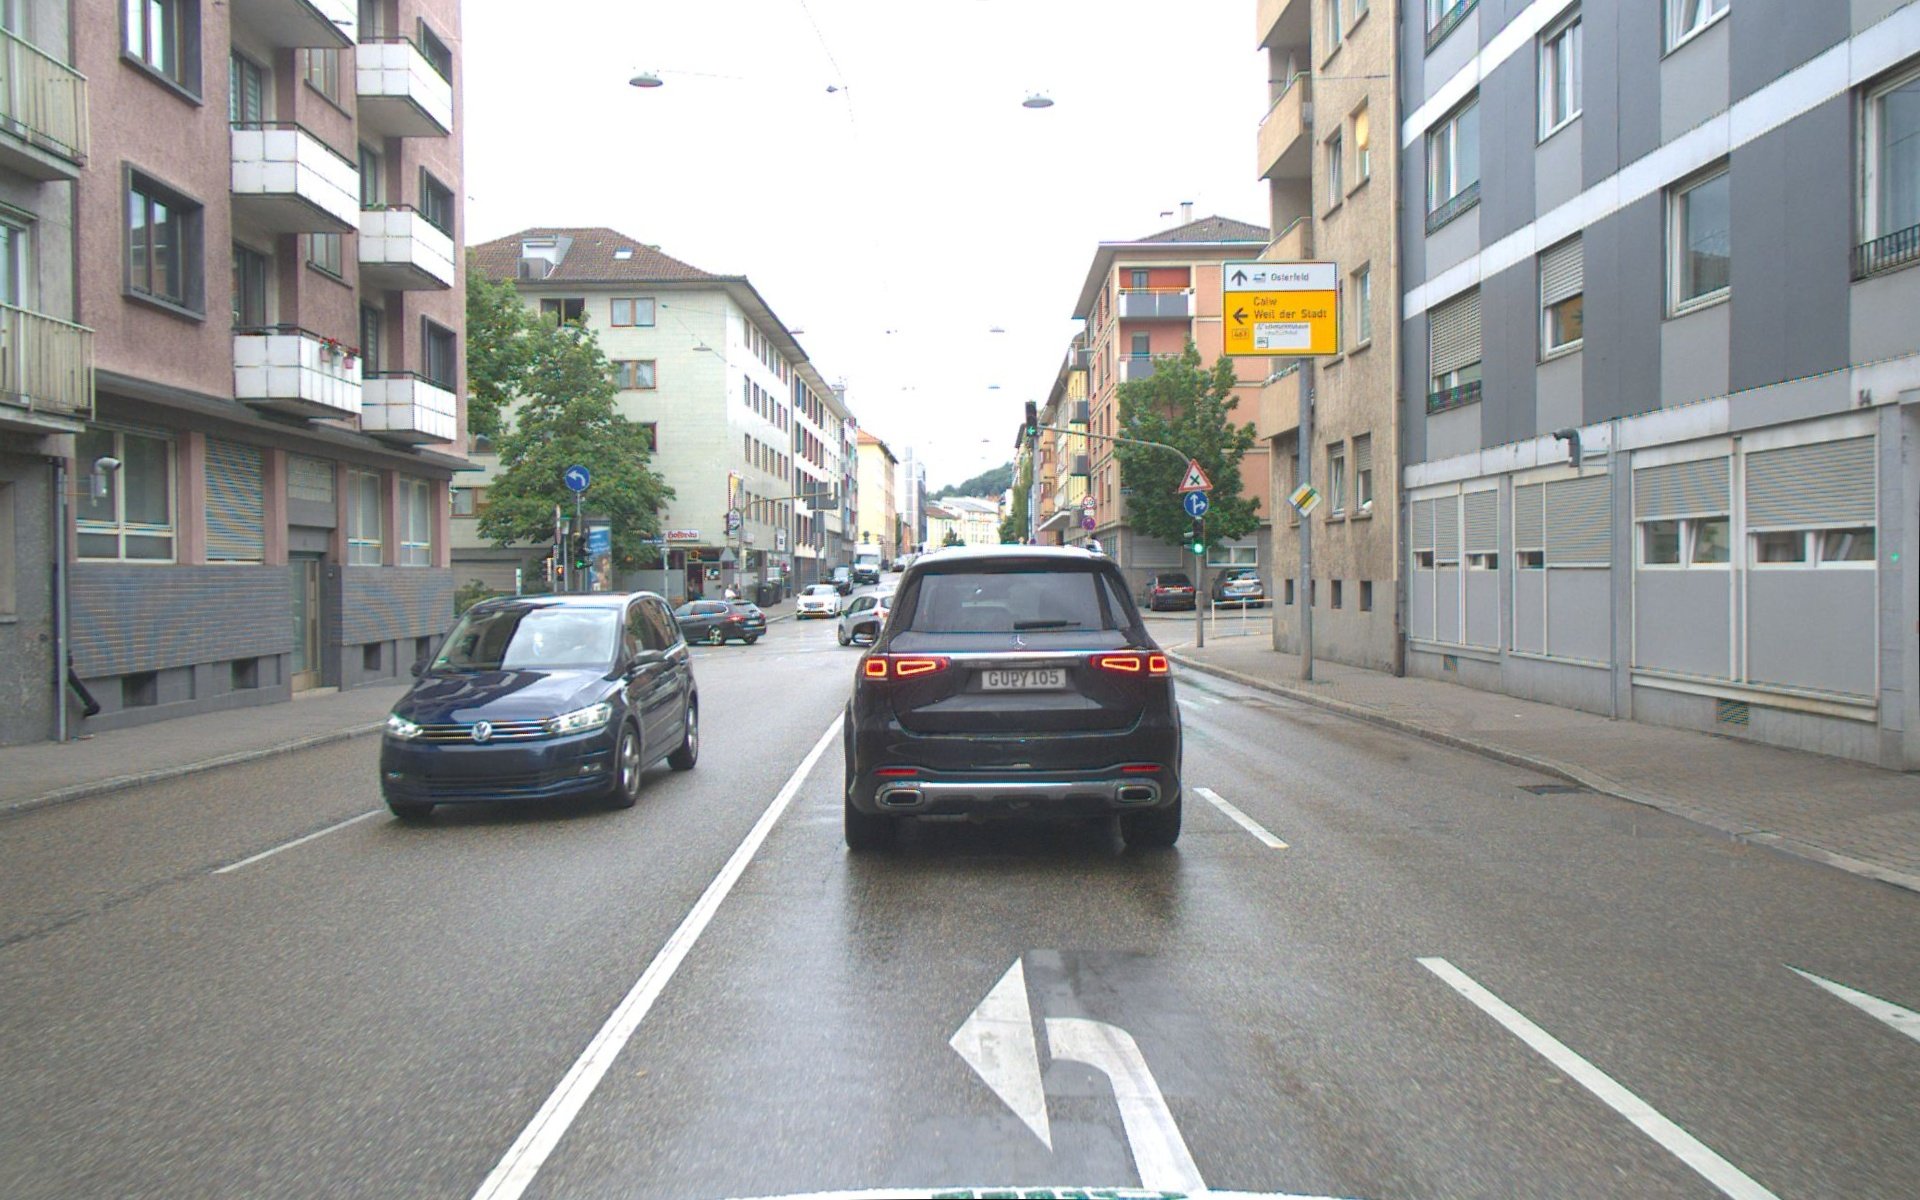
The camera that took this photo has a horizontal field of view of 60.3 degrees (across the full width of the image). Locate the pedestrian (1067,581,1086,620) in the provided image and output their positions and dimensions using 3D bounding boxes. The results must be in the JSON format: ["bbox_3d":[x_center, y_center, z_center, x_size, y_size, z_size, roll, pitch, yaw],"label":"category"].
[{"bbox_3d":[6.214,0.038,88.209,0.904,2.049,0.706,-1,0,-2],"label":"pedestrian"}]

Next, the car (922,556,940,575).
[{"bbox_3d":[-2.807,-3.271,158.115,1.586,1.566,4.215,-2,-1,-3],"label":"car"}]

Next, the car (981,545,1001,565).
[{"bbox_3d":[2.969,-4.378,160.411,1.689,1.790,4.215,-1,0,-3],"label":"car"}]

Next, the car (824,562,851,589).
[{"bbox_3d":[-7.885,-1.580,106.423,1.586,1.566,4.215,-2,-1,-3],"label":"car"}]

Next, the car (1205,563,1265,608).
[{"bbox_3d":[11.555,-0.581,69.592,1.786,1.826,3.831,-1,0,-1],"label":"car"}]

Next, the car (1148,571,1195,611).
[{"bbox_3d":[8.884,-0.391,69.585,1.636,1.616,3.331,-1,0,2],"label":"car"}]

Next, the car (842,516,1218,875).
[{"bbox_3d":[0.352,0.537,11.017,1.944,1.836,4.389,2,-1,-1],"label":"car"}]

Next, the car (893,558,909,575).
[{"bbox_3d":[-6.046,-3.408,168.525,1.586,1.566,4.215,-2,-1,-3],"label":"car"}]

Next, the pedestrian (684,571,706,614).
[{"bbox_3d":[-12.260,-0.353,76.459,0.904,1.935,0.706,-1,0,-2],"label":"pedestrian"}]

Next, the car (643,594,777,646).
[{"bbox_3d":[-8.291,0.679,54.774,4.267,1.566,1.773,-2,-1,33],"label":"car"}]

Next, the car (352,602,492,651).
[{"bbox_3d":[-18.861,0.924,58.080,4.254,1.566,1.778,-2,-1,2],"label":"car"}]

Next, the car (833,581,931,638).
[{"bbox_3d":[-2.380,0.308,49.520,1.748,1.566,3.736,-2,-1,-23],"label":"car"}]

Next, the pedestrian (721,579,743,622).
[{"bbox_3d":[-9.531,0.029,69.227,0.622,1.795,0.774,-1,0,16],"label":"pedestrian"}]

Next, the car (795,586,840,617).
[{"bbox_3d":[-6.485,0.085,75.558,1.847,1.286,4.215,-2,-1,-3],"label":"car"}]

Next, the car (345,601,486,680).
[{"bbox_3d":[-12.664,0.907,38.756,1.953,1.702,4.258,-1,0,-1],"label":"car"}]

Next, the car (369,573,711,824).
[{"bbox_3d":[-3.231,0.654,13.638,1.736,1.674,4.410,-2,1,-2],"label":"car"}]

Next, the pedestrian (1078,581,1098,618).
[{"bbox_3d":[6.506,-0.031,83.906,0.904,1.836,0.706,-1,0,-2],"label":"pedestrian"}]

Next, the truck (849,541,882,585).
[{"bbox_3d":[-7.518,-2.885,131.862,2.430,3.099,9.914,-2,-1,-3],"label":"truck"}]
